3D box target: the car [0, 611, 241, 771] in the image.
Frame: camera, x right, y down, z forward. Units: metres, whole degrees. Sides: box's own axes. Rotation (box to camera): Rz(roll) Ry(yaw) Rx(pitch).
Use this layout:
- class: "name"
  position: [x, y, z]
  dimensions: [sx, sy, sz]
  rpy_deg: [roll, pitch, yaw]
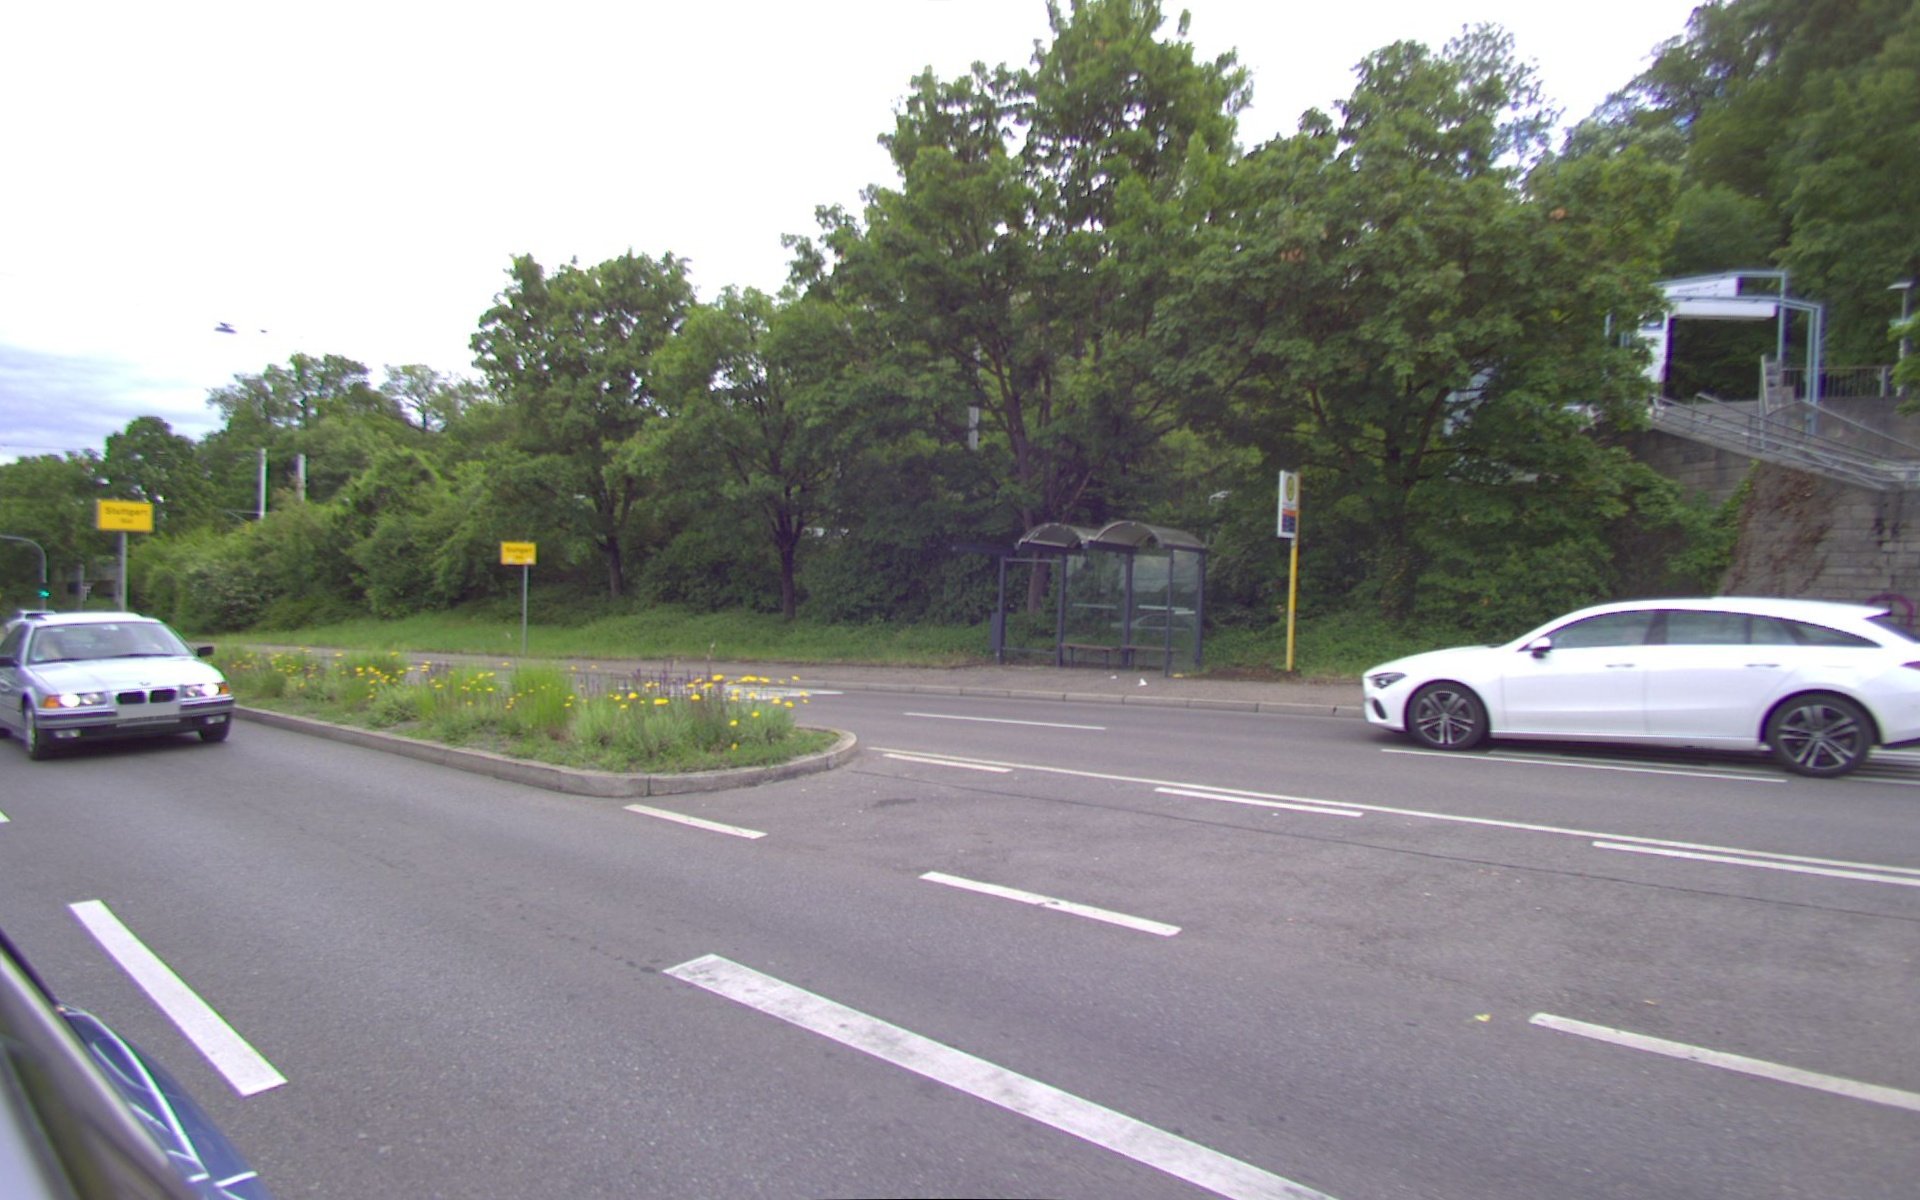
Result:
- class: "car"
  position: [-9.663, 0.852, 11.287]
  dimensions: [4.614, 1.404, 1.734]
  rpy_deg: [-1, 0, 42]

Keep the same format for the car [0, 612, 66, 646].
- class: "car"
  position: [-45.618, 1.396, 49.758]
  dimensions: [4.036, 1.552, 1.713]
  rpy_deg: [-1, 0, 36]

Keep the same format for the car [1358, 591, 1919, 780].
- class: "car"
  position: [6.243, 0.665, 9.233]
  dimensions: [4.599, 1.404, 1.702]
  rpy_deg: [-1, -1, 36]
